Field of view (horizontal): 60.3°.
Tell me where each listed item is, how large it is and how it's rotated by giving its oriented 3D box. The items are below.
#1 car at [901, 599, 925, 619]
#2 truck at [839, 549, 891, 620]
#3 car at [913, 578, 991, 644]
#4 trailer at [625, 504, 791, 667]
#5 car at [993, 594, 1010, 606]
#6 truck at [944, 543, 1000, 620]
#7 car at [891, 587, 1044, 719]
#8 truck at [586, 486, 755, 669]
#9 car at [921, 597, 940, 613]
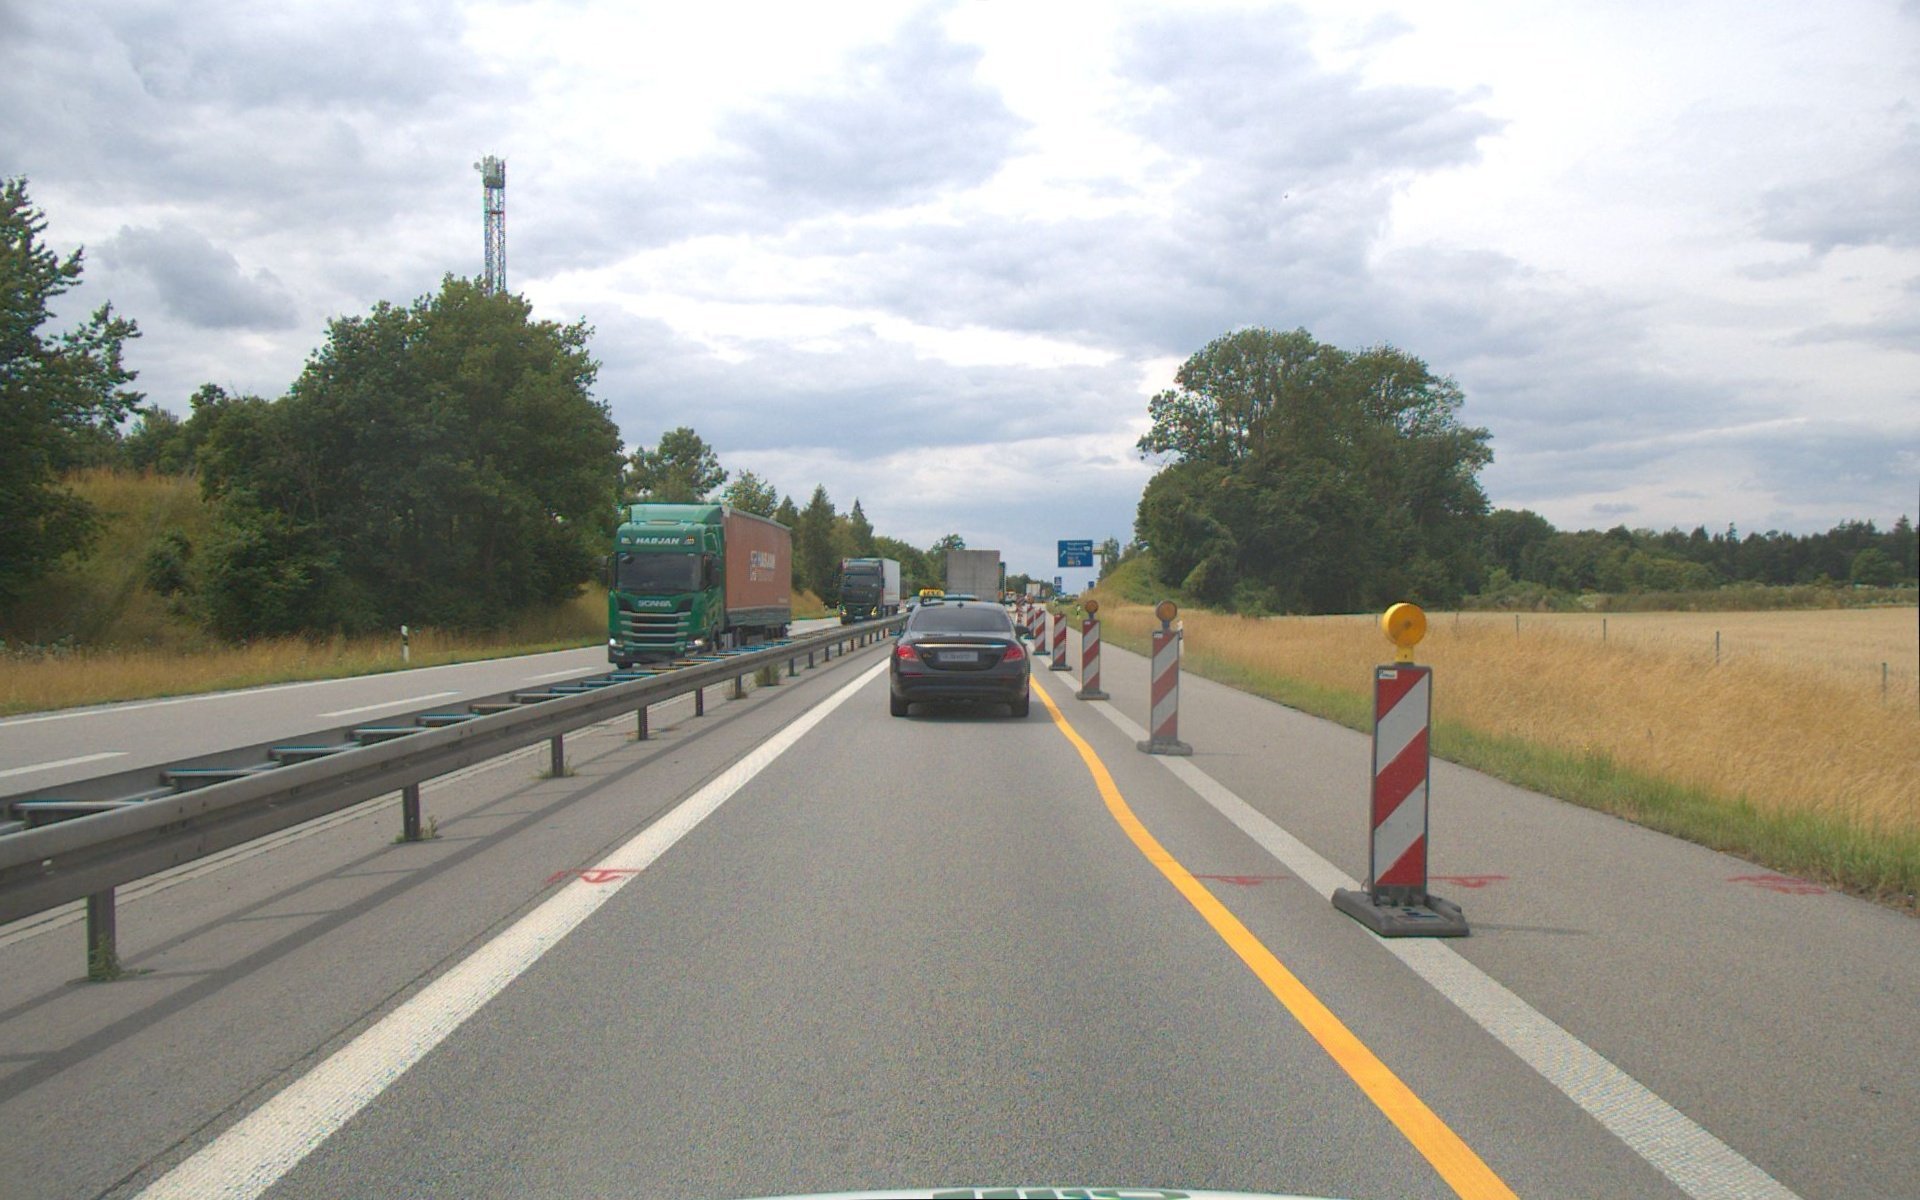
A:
[{"bbox_3d":[-4.155,0.814,146.859,1.952,1.646,4.000,1,-1,1],"label":"car"},{"bbox_3d":[-5.834,-0.886,102.146,2.585,4.243,6.986,1,-1,1],"label":"truck"},{"bbox_3d":[-0.296,0.381,54.334,1.957,2.049,3.991,1,-1,-9],"label":"car"},{"bbox_3d":[-7.267,-0.317,49.635,3.086,4.287,11.641,1,-1,0],"label":"trailer"},{"bbox_3d":[4.810,0.021,193.358,1.617,1.420,3.702,1,-1,-4],"label":"car"},{"bbox_3d":[0.538,-0.857,81.162,2.534,3.586,4.811,1,-1,-2],"label":"truck"},{"bbox_3d":[0.193,0.668,22.249,1.758,1.587,4.002,1,-1,4],"label":"car"},{"bbox_3d":[-7.276,-0.486,42.548,3.059,4.287,6.780,1,-1,0],"label":"truck"},{"bbox_3d":[-3.160,0.563,178.223,1.952,1.646,4.000,1,-1,1],"label":"car"}]
